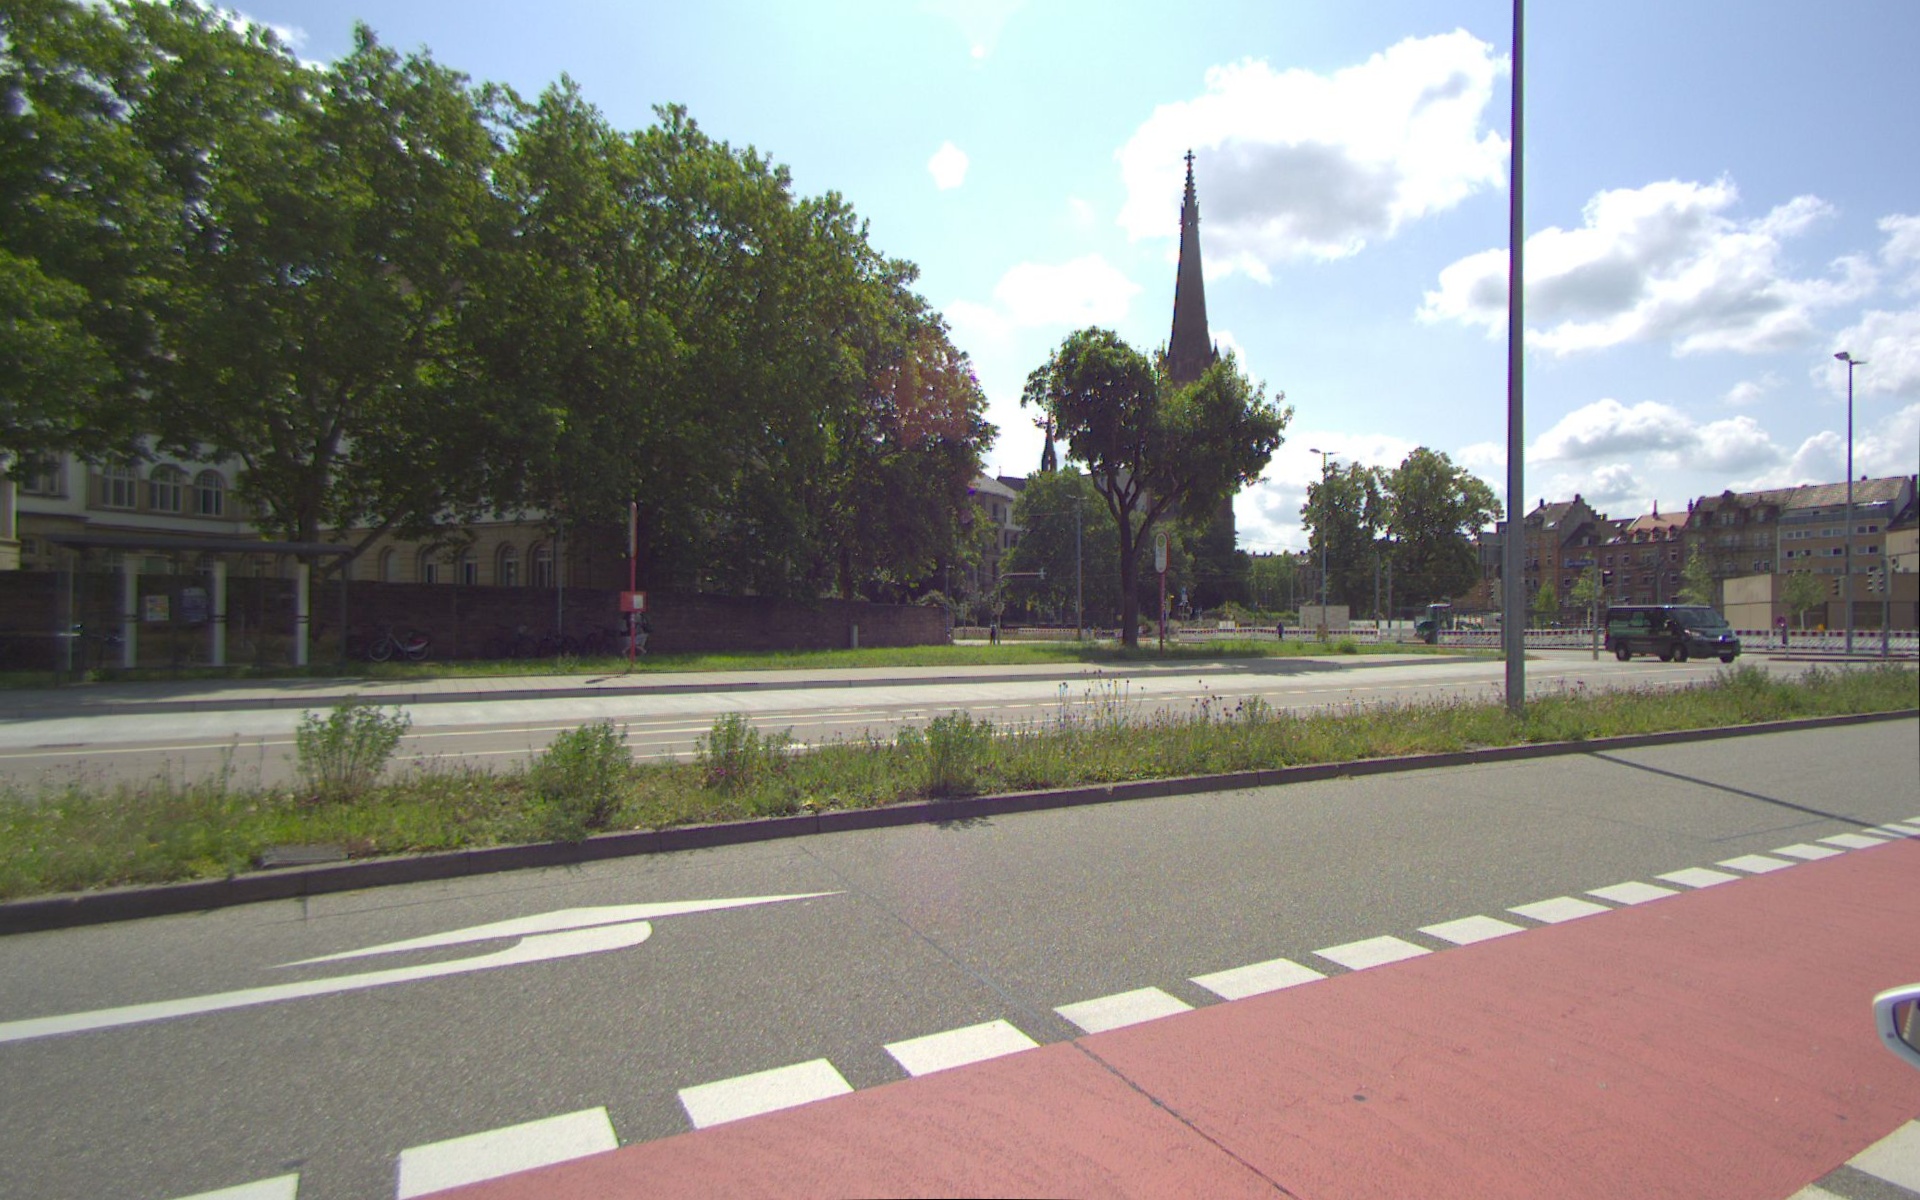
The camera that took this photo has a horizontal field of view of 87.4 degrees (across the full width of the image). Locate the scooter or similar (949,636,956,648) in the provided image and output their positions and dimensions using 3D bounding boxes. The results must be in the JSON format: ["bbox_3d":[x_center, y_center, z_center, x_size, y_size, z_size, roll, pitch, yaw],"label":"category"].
[{"bbox_3d":[-0.439,2.472,58.985,0.117,0.721,1.005,0,-1,17],"label":"scooter or similar"}]

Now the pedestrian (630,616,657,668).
[{"bbox_3d":[-9.183,1.209,29.124,0.627,1.492,0.506,1,-1,-32],"label":"pedestrian"}]

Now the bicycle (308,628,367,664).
[{"bbox_3d":[-17.160,1.261,27.717,0.260,0.977,1.391,0,-1,36],"label":"bicycle"}]

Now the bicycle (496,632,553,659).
[{"bbox_3d":[-13.967,1.459,32.240,0.378,0.828,1.743,0,-1,36],"label":"bicycle"}]

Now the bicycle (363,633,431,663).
[{"bbox_3d":[-16.240,1.375,29.014,0.324,0.828,1.743,0,-1,36],"label":"bicycle"}]

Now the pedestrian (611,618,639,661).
[{"bbox_3d":[-11.188,1.294,33.539,0.720,1.413,0.714,1,-1,-35],"label":"pedestrian"}]

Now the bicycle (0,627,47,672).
[{"bbox_3d":[-21.257,1.098,22.326,0.260,0.977,1.391,0,-1,36],"label":"bicycle"}]

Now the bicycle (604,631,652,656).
[{"bbox_3d":[-11.776,1.531,35.683,0.324,0.828,1.743,0,-1,36],"label":"bicycle"}]

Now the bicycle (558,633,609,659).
[{"bbox_3d":[-12.781,1.547,34.156,0.324,0.828,1.743,0,-1,36],"label":"bicycle"}]

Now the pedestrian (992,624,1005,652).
[{"bbox_3d":[2.885,2.808,74.676,0.713,2.040,0.721,1,-1,-32],"label":"pedestrian"}]

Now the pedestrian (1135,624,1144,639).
[{"bbox_3d":[19.852,3.451,111.164,0.842,1.685,0.751,0,-1,29],"label":"pedestrian"}]

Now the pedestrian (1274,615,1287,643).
[{"bbox_3d":[23.632,2.112,74.103,0.625,2.040,0.643,1,-1,-32],"label":"pedestrian"}]

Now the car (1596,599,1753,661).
[{"bbox_3d":[27.392,1.201,38.775,2.114,2.204,5.015,-1,-3,-6],"label":"car"}]

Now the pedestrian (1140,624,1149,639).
[{"bbox_3d":[20.507,3.540,111.775,0.842,1.685,0.751,0,-1,29],"label":"pedestrian"}]

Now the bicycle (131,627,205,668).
[{"bbox_3d":[-19.418,1.153,24.647,0.260,0.977,1.391,0,-1,36],"label":"bicycle"}]
